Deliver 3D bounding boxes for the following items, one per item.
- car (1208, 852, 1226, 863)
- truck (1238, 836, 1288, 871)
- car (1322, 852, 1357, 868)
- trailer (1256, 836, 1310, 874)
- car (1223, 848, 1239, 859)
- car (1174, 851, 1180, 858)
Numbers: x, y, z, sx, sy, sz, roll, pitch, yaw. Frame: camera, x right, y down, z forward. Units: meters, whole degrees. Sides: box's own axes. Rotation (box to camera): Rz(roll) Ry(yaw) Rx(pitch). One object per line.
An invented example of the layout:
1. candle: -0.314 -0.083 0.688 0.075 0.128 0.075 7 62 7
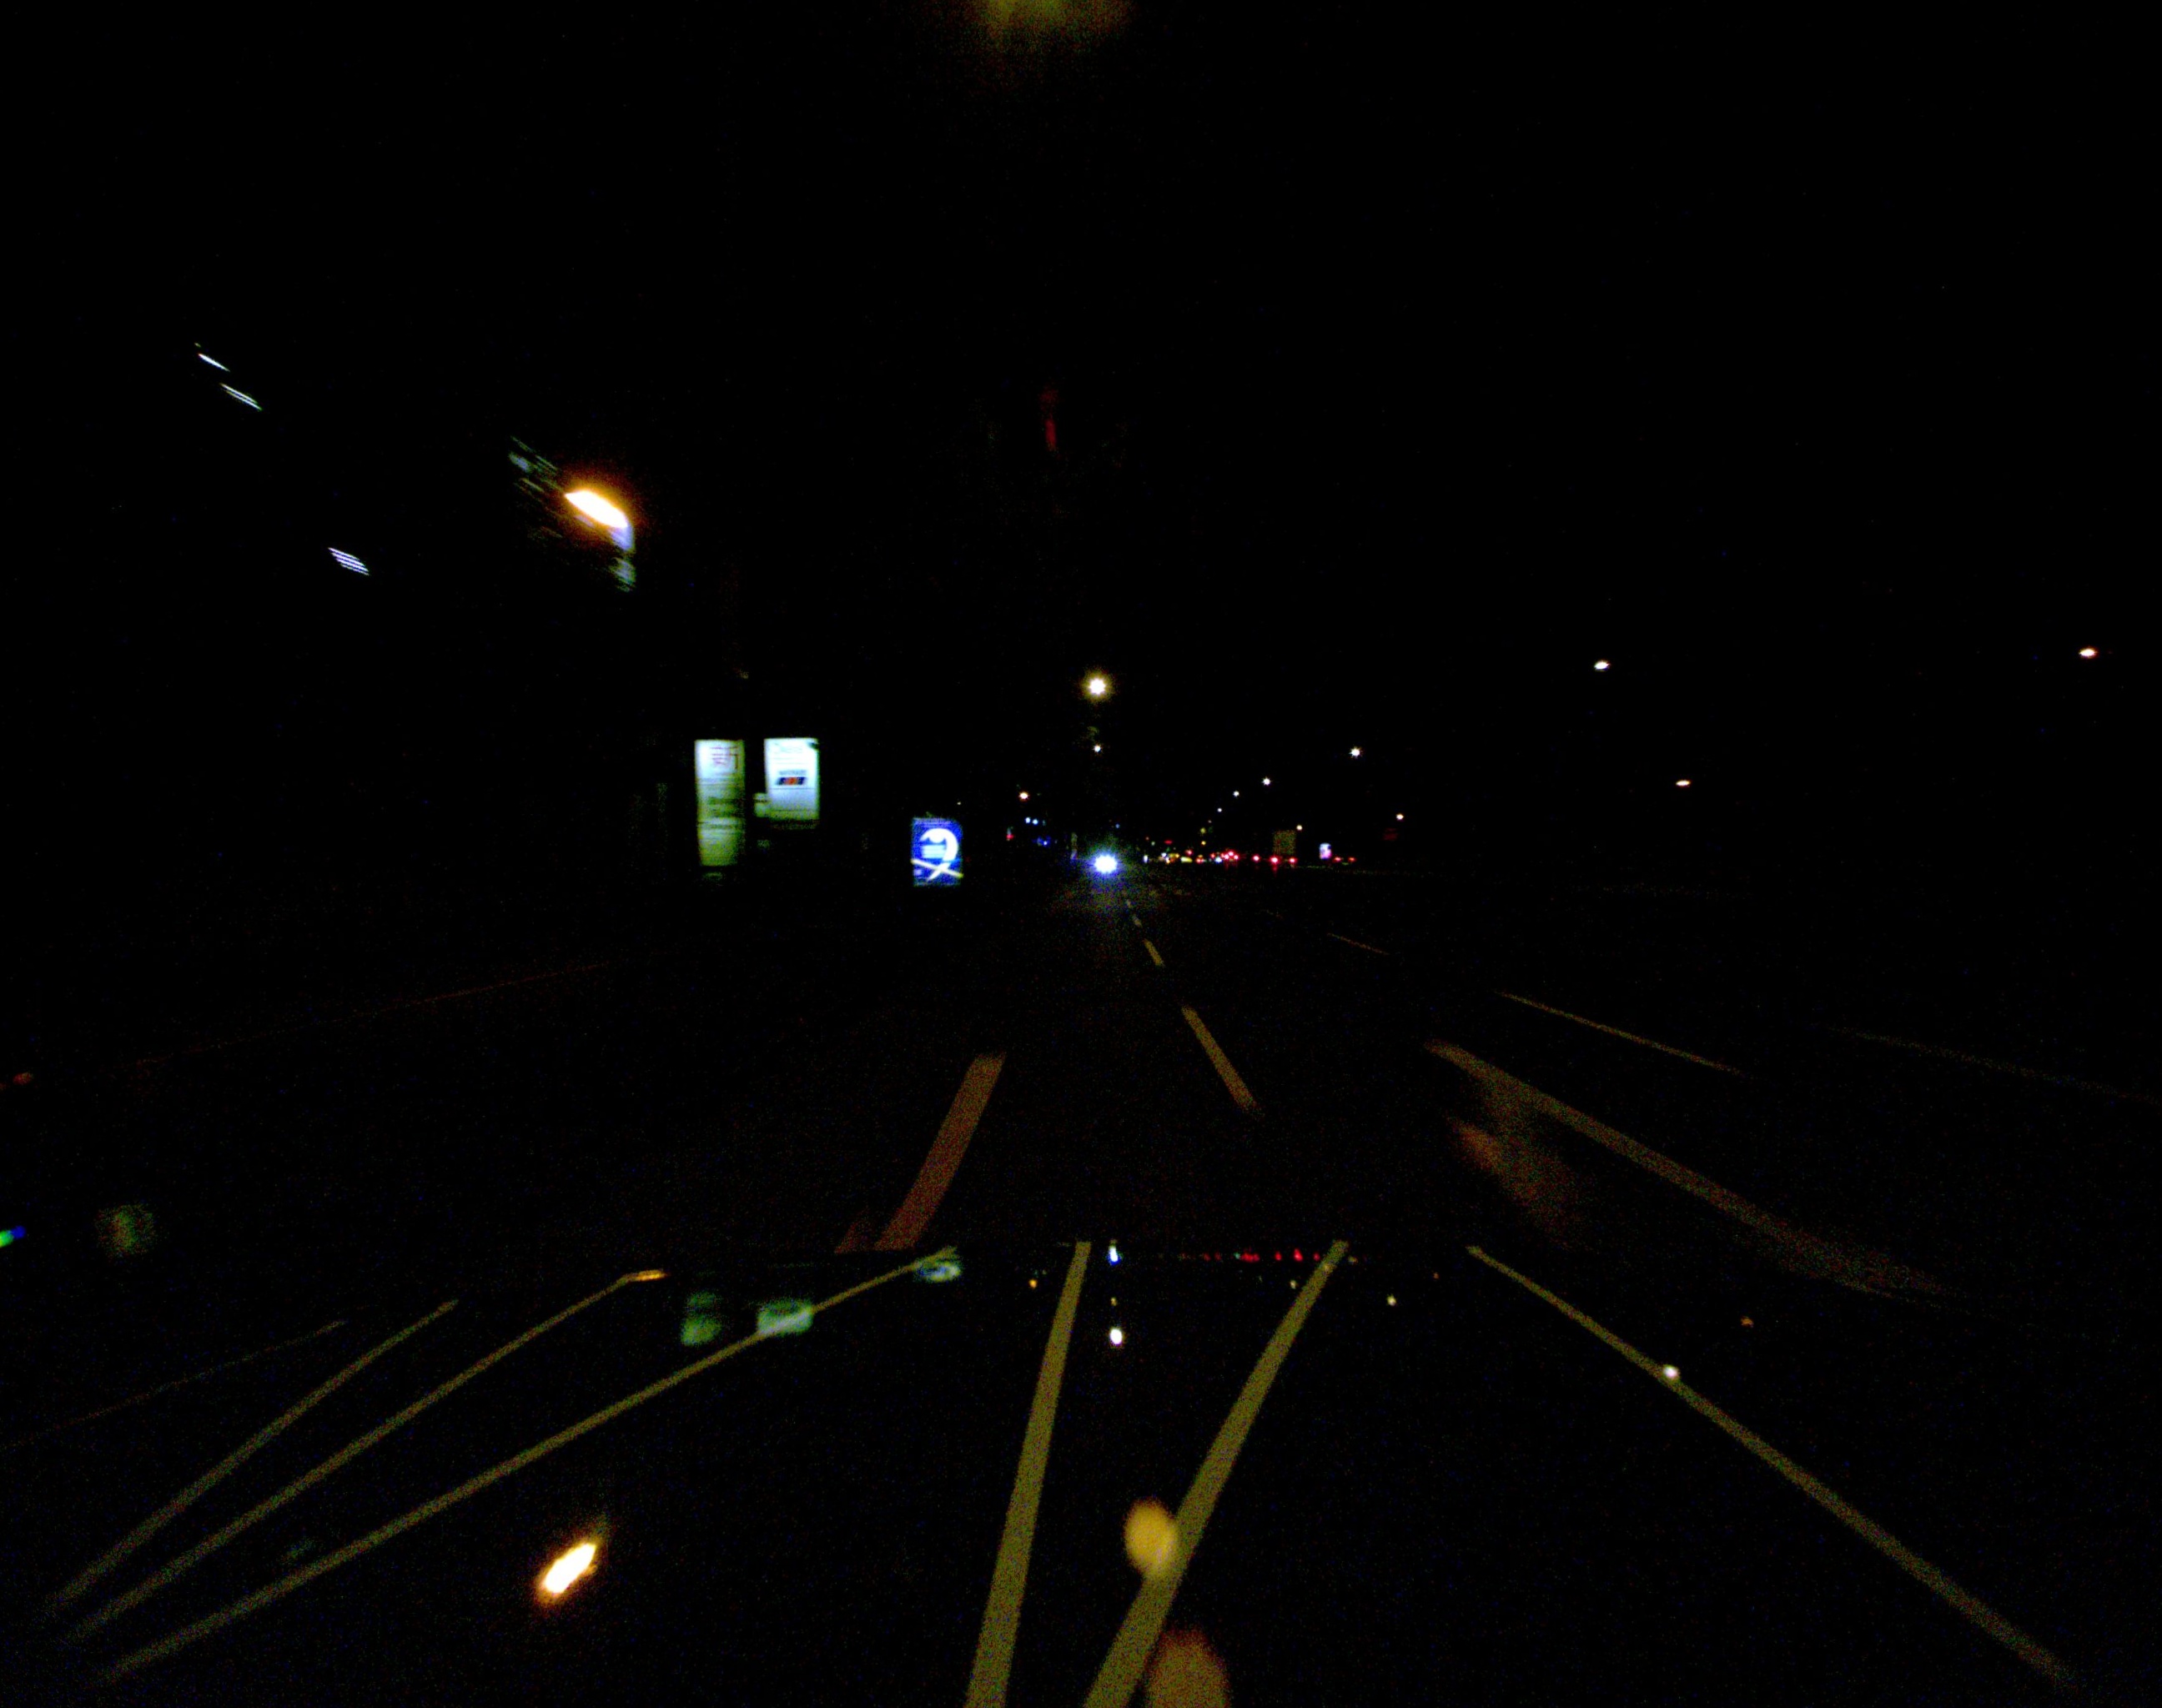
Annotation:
1. car: 19.536 0.462 109.300 1.809 1.490 4.084 -1 1 -1
2. truck: 22.580 -0.151 94.842 3.690 3.932 10.419 -2 1 0
3. car: 24.882 0.536 73.300 1.991 1.472 4.203 1 0 0
4. trailer: 22.525 0.034 85.370 3.705 3.967 8.394 -2 1 0
5. car: 22.936 -0.083 116.234 1.729 1.616 3.962 -2 1 2
6. car: 27.410 0.183 217.195 1.794 1.896 4.001 -2 1 6
